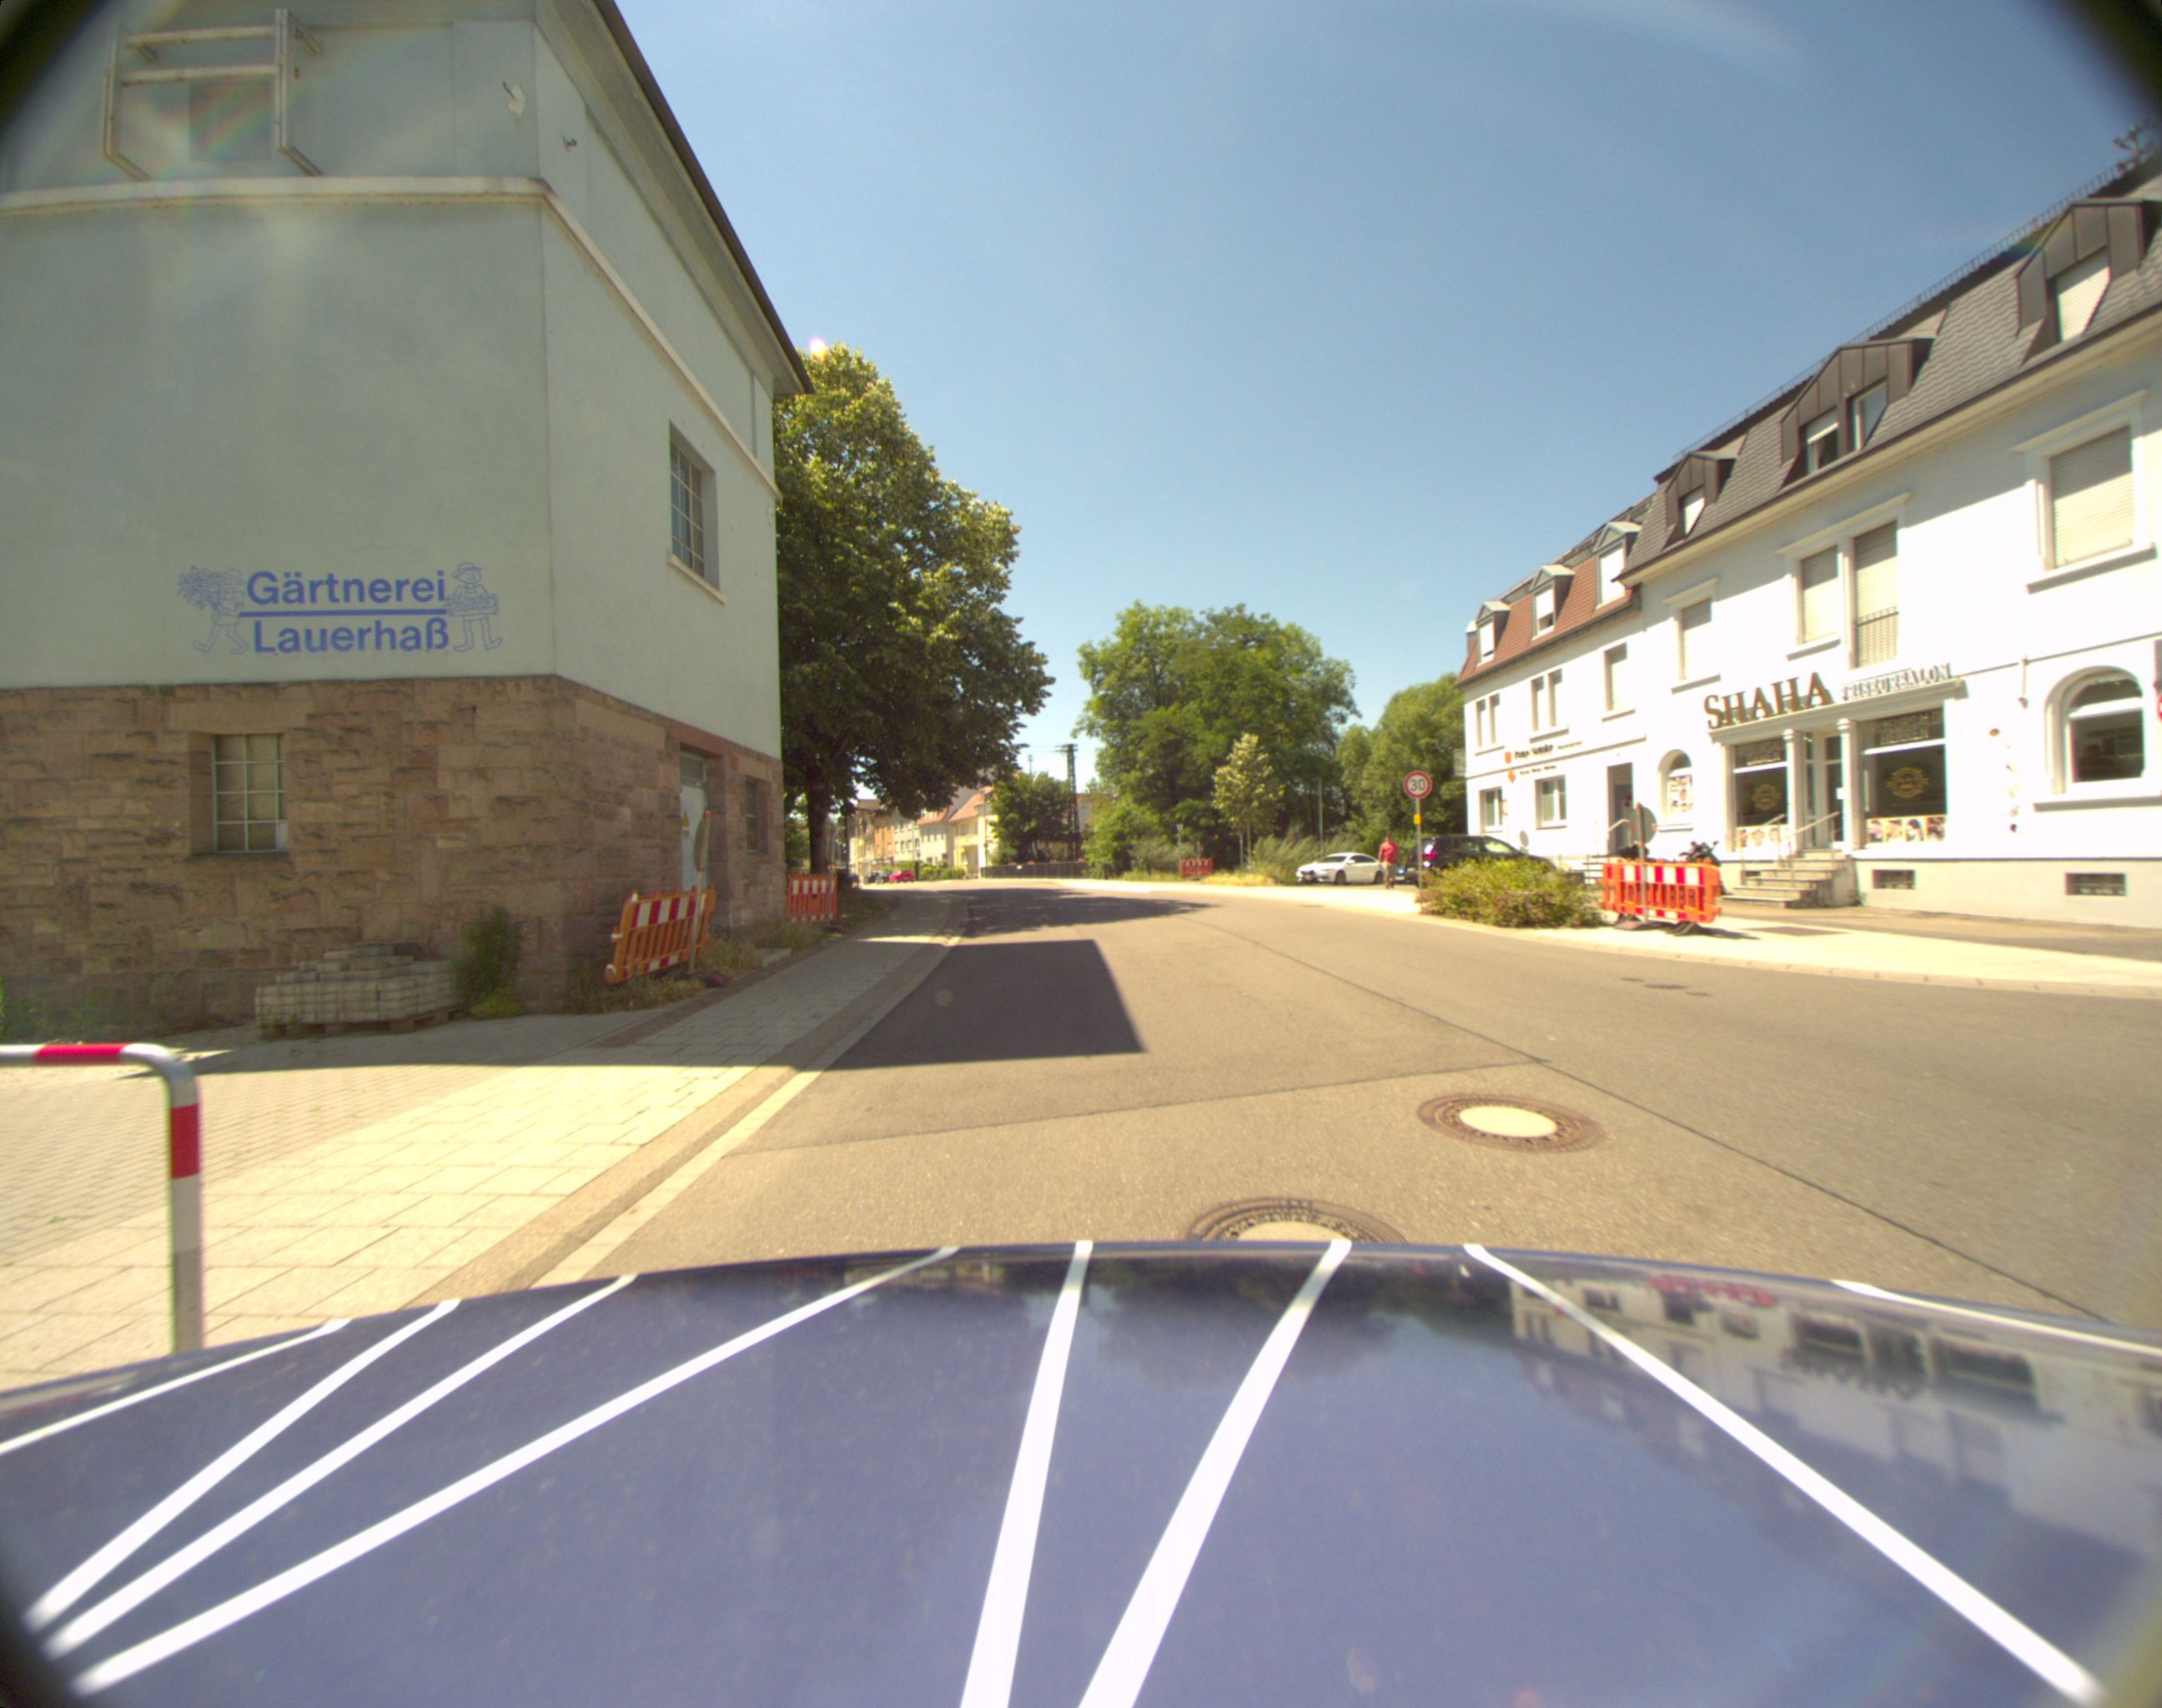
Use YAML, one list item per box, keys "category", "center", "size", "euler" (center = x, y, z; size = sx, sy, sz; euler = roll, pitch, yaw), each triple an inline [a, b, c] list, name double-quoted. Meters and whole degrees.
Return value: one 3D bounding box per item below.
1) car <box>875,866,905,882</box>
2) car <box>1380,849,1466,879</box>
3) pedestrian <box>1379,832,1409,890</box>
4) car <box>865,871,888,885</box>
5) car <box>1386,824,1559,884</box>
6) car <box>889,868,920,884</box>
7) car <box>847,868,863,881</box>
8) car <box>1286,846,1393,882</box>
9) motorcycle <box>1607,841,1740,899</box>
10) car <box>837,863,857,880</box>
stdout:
- category: "car"
  center: [-20.702, 2.204, 82.212]
  size: [1.872, 1.453, 5.297]
  euler: [-4, -1, -27]
- category: "car"
  center: [16.414, 0.493, 36.469]
  size: [4.008, 1.337, 1.994]
  euler: [1, 0, -36]
- category: "pedestrian"
  center: [9.637, 0.206, 23.411]
  size: [0.737, 1.744, 0.738]
  euler: [-1, 1, 29]
- category: "car"
  center: [-23.548, 2.736, 87.426]
  size: [1.795, 1.450, 4.191]
  euler: [-5, 0, -23]
- category: "car"
  center: [11.699, -0.007, 22.899]
  size: [4.192, 1.652, 1.970]
  euler: [-1, 1, -3]
- category: "car"
  center: [-17.907, 2.243, 76.904]
  size: [1.886, 1.471, 4.728]
  euler: [-5, 0, -27]
- category: "car"
  center: [-31.686, 2.874, 106.487]
  size: [2.093, 1.605, 5.102]
  euler: [-3, -1, -18]
- category: "car"
  center: [11.245, 0.396, 32.989]
  size: [4.717, 1.348, 1.995]
  euler: [-2, 0, -36]
- category: "motorcycle"
  center: [13.526, 0.355, 17.385]
  size: [2.401, 1.211, 0.833]
  euler: [-2, 2, -1]
- category: "car"
  center: [-36.049, 2.686, 116.740]
  size: [2.128, 2.435, 6.107]
  euler: [-4, 0, -23]
